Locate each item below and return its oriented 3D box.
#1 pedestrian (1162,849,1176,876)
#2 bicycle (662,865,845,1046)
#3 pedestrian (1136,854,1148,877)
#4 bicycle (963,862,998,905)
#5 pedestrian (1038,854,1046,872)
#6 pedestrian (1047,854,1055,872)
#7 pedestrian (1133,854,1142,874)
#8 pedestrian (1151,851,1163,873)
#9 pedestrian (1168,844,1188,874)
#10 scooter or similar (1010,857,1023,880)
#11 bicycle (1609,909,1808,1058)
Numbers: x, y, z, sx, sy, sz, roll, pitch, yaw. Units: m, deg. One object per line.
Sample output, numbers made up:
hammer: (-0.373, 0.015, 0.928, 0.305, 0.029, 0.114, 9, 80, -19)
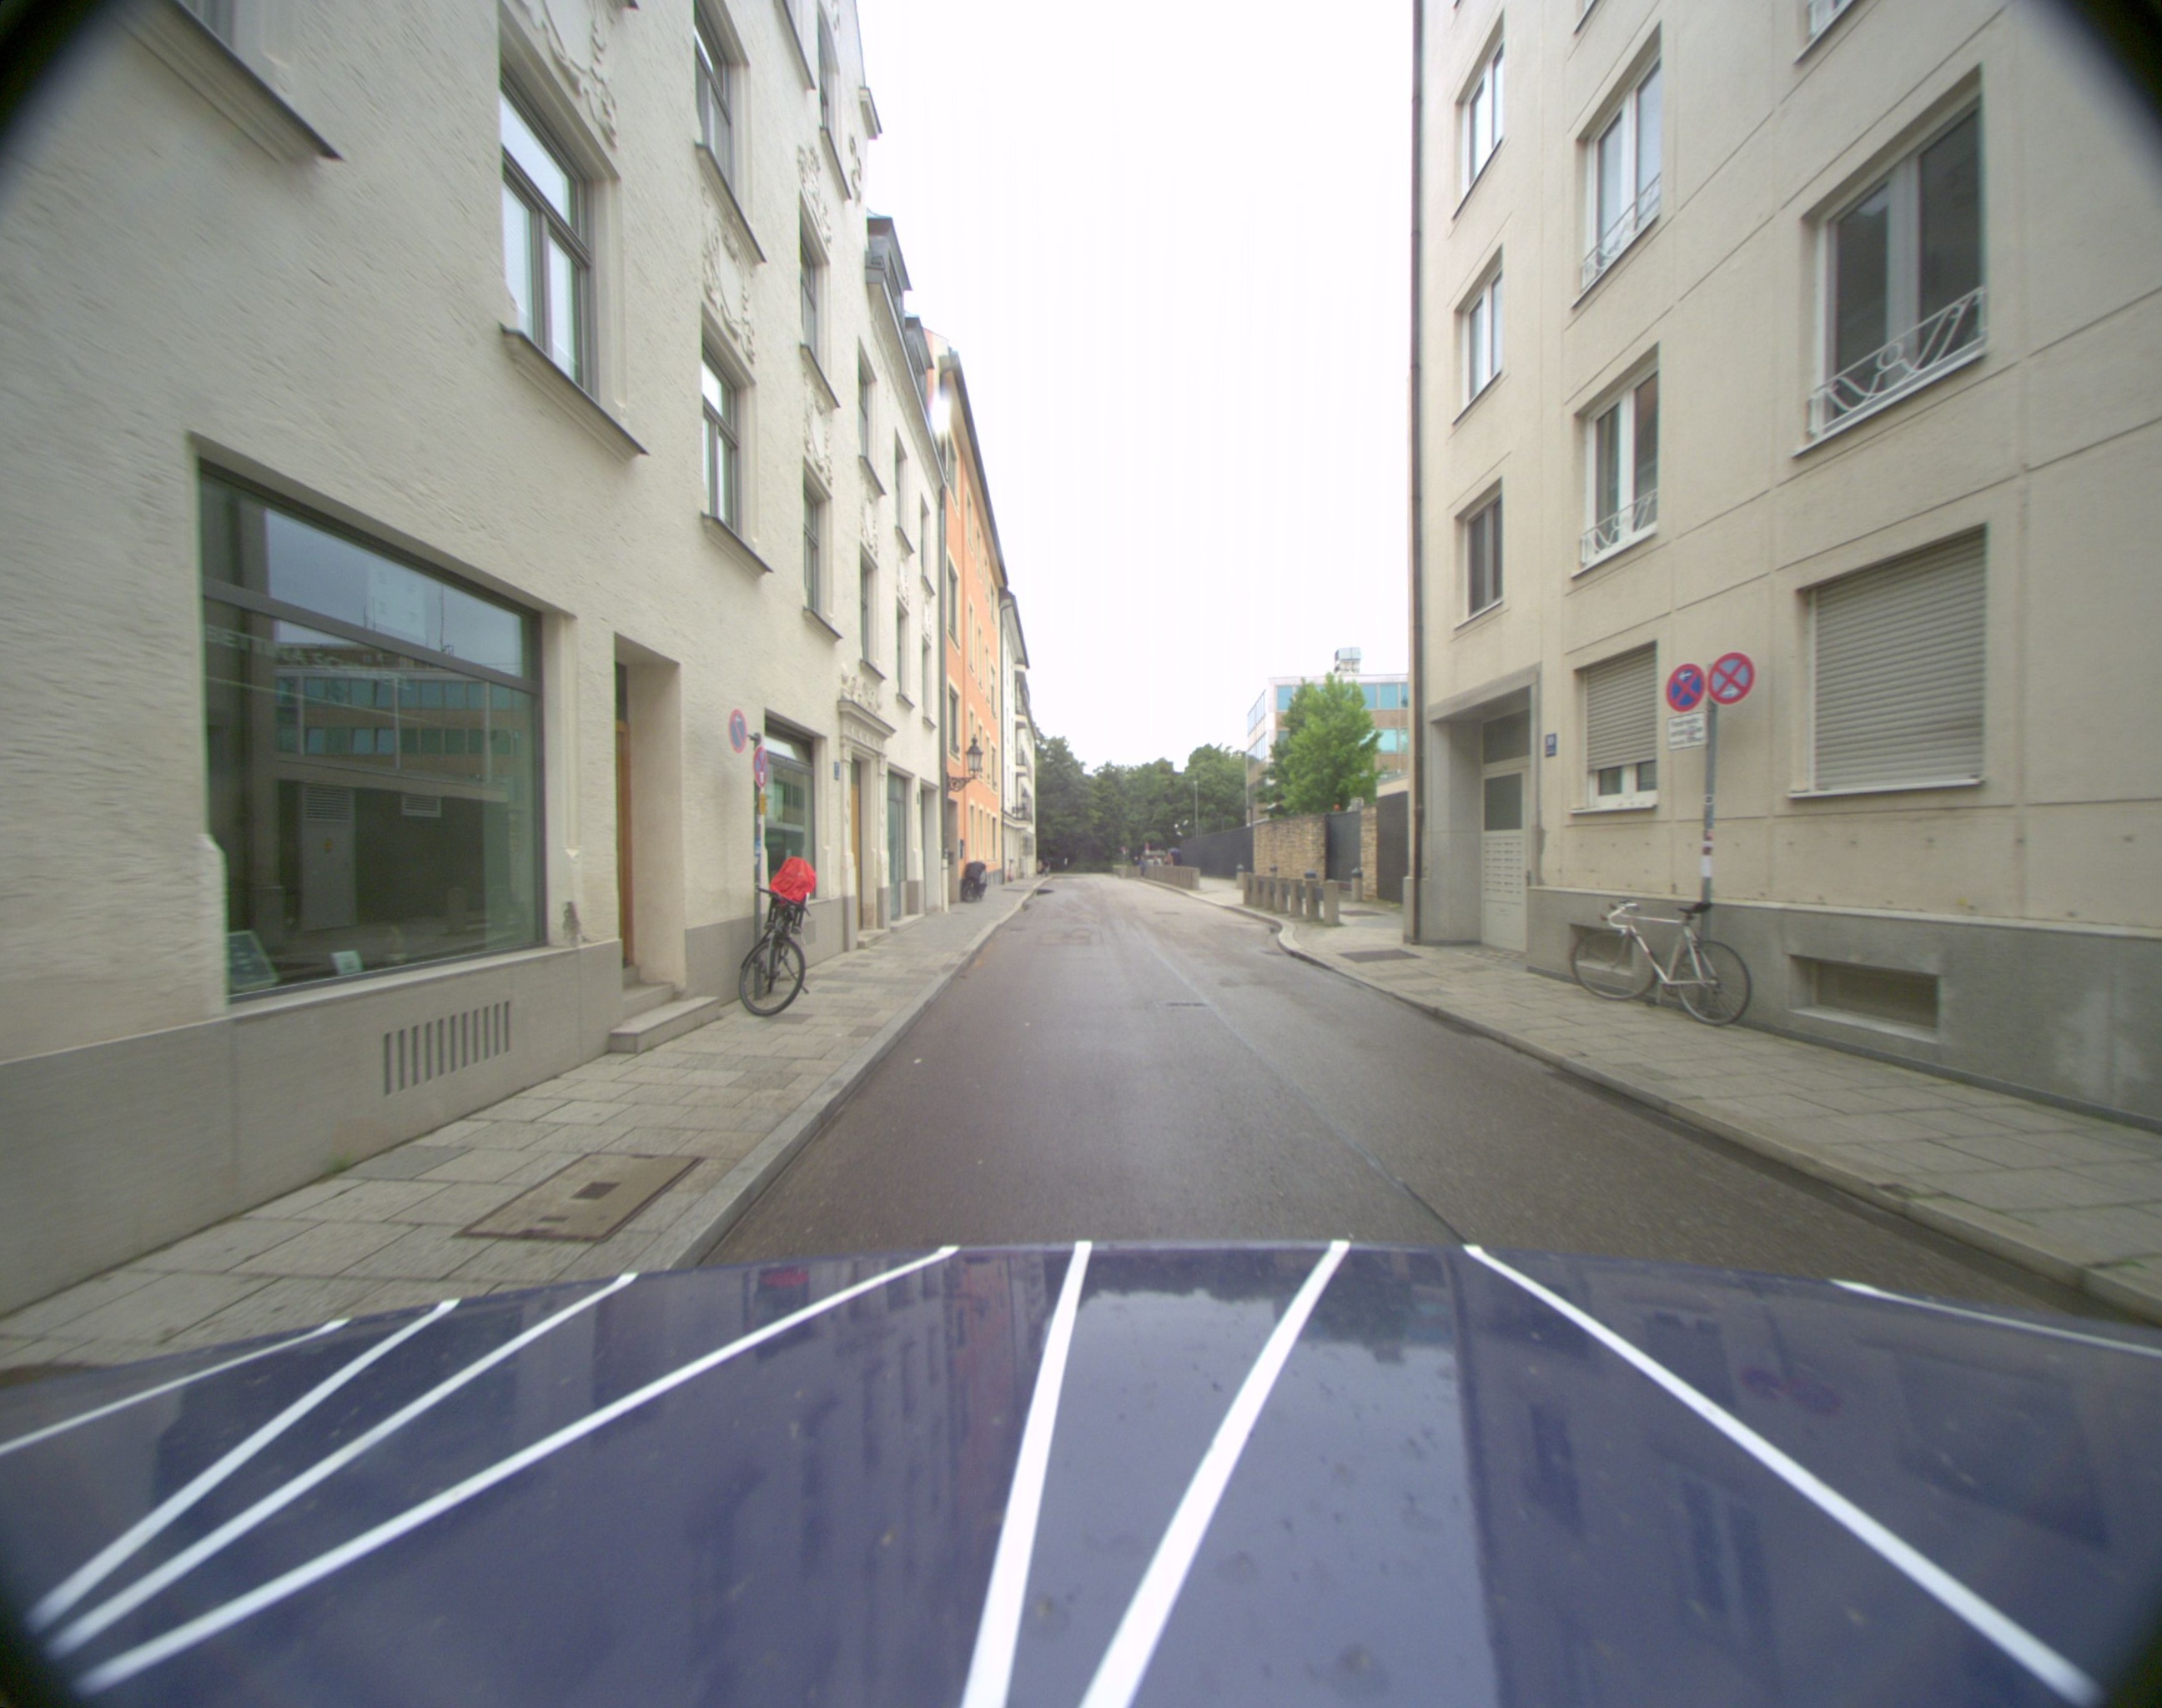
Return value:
pedestrian: (5.855, 0.551, 50.417, 0.826, 1.713, 0.906, -3, 0, 4)
bicycle: (-2.954, 0.828, 7.136, 0.715, 1.388, 2.122, 2, 0, 2)
pedestrian: (4.100, 0.761, 50.830, 0.640, 1.458, 1.079, -3, 0, 0)
bicycle: (-3.160, 0.892, 24.079, 0.681, 1.233, 2.382, 4, 0, 1)
pedestrian: (-3.659, 0.863, 71.073, 0.753, 1.671, 0.655, -1, 0, -2)
pedestrian: (-2.816, 0.829, 71.296, 0.753, 1.725, 0.853, -1, 0, -2)
pedestrian: (4.997, 0.846, 67.192, 0.625, 1.758, 0.766, -1, 0, -1)
pedestrian: (5.651, 0.591, 56.243, 0.779, 1.531, 0.933, -3, 0, 7)
pedestrian: (6.744, 0.349, 52.799, 1.226, 2.091, 1.116, -1, 0, 1)
scooter or similar: (-3.608, 0.812, 42.353, 0.466, 1.251, 1.275, 2, 1, -14)
bicycle: (5.099, 0.997, 6.297, 0.320, 0.938, 1.574, -4, 0, 1)
